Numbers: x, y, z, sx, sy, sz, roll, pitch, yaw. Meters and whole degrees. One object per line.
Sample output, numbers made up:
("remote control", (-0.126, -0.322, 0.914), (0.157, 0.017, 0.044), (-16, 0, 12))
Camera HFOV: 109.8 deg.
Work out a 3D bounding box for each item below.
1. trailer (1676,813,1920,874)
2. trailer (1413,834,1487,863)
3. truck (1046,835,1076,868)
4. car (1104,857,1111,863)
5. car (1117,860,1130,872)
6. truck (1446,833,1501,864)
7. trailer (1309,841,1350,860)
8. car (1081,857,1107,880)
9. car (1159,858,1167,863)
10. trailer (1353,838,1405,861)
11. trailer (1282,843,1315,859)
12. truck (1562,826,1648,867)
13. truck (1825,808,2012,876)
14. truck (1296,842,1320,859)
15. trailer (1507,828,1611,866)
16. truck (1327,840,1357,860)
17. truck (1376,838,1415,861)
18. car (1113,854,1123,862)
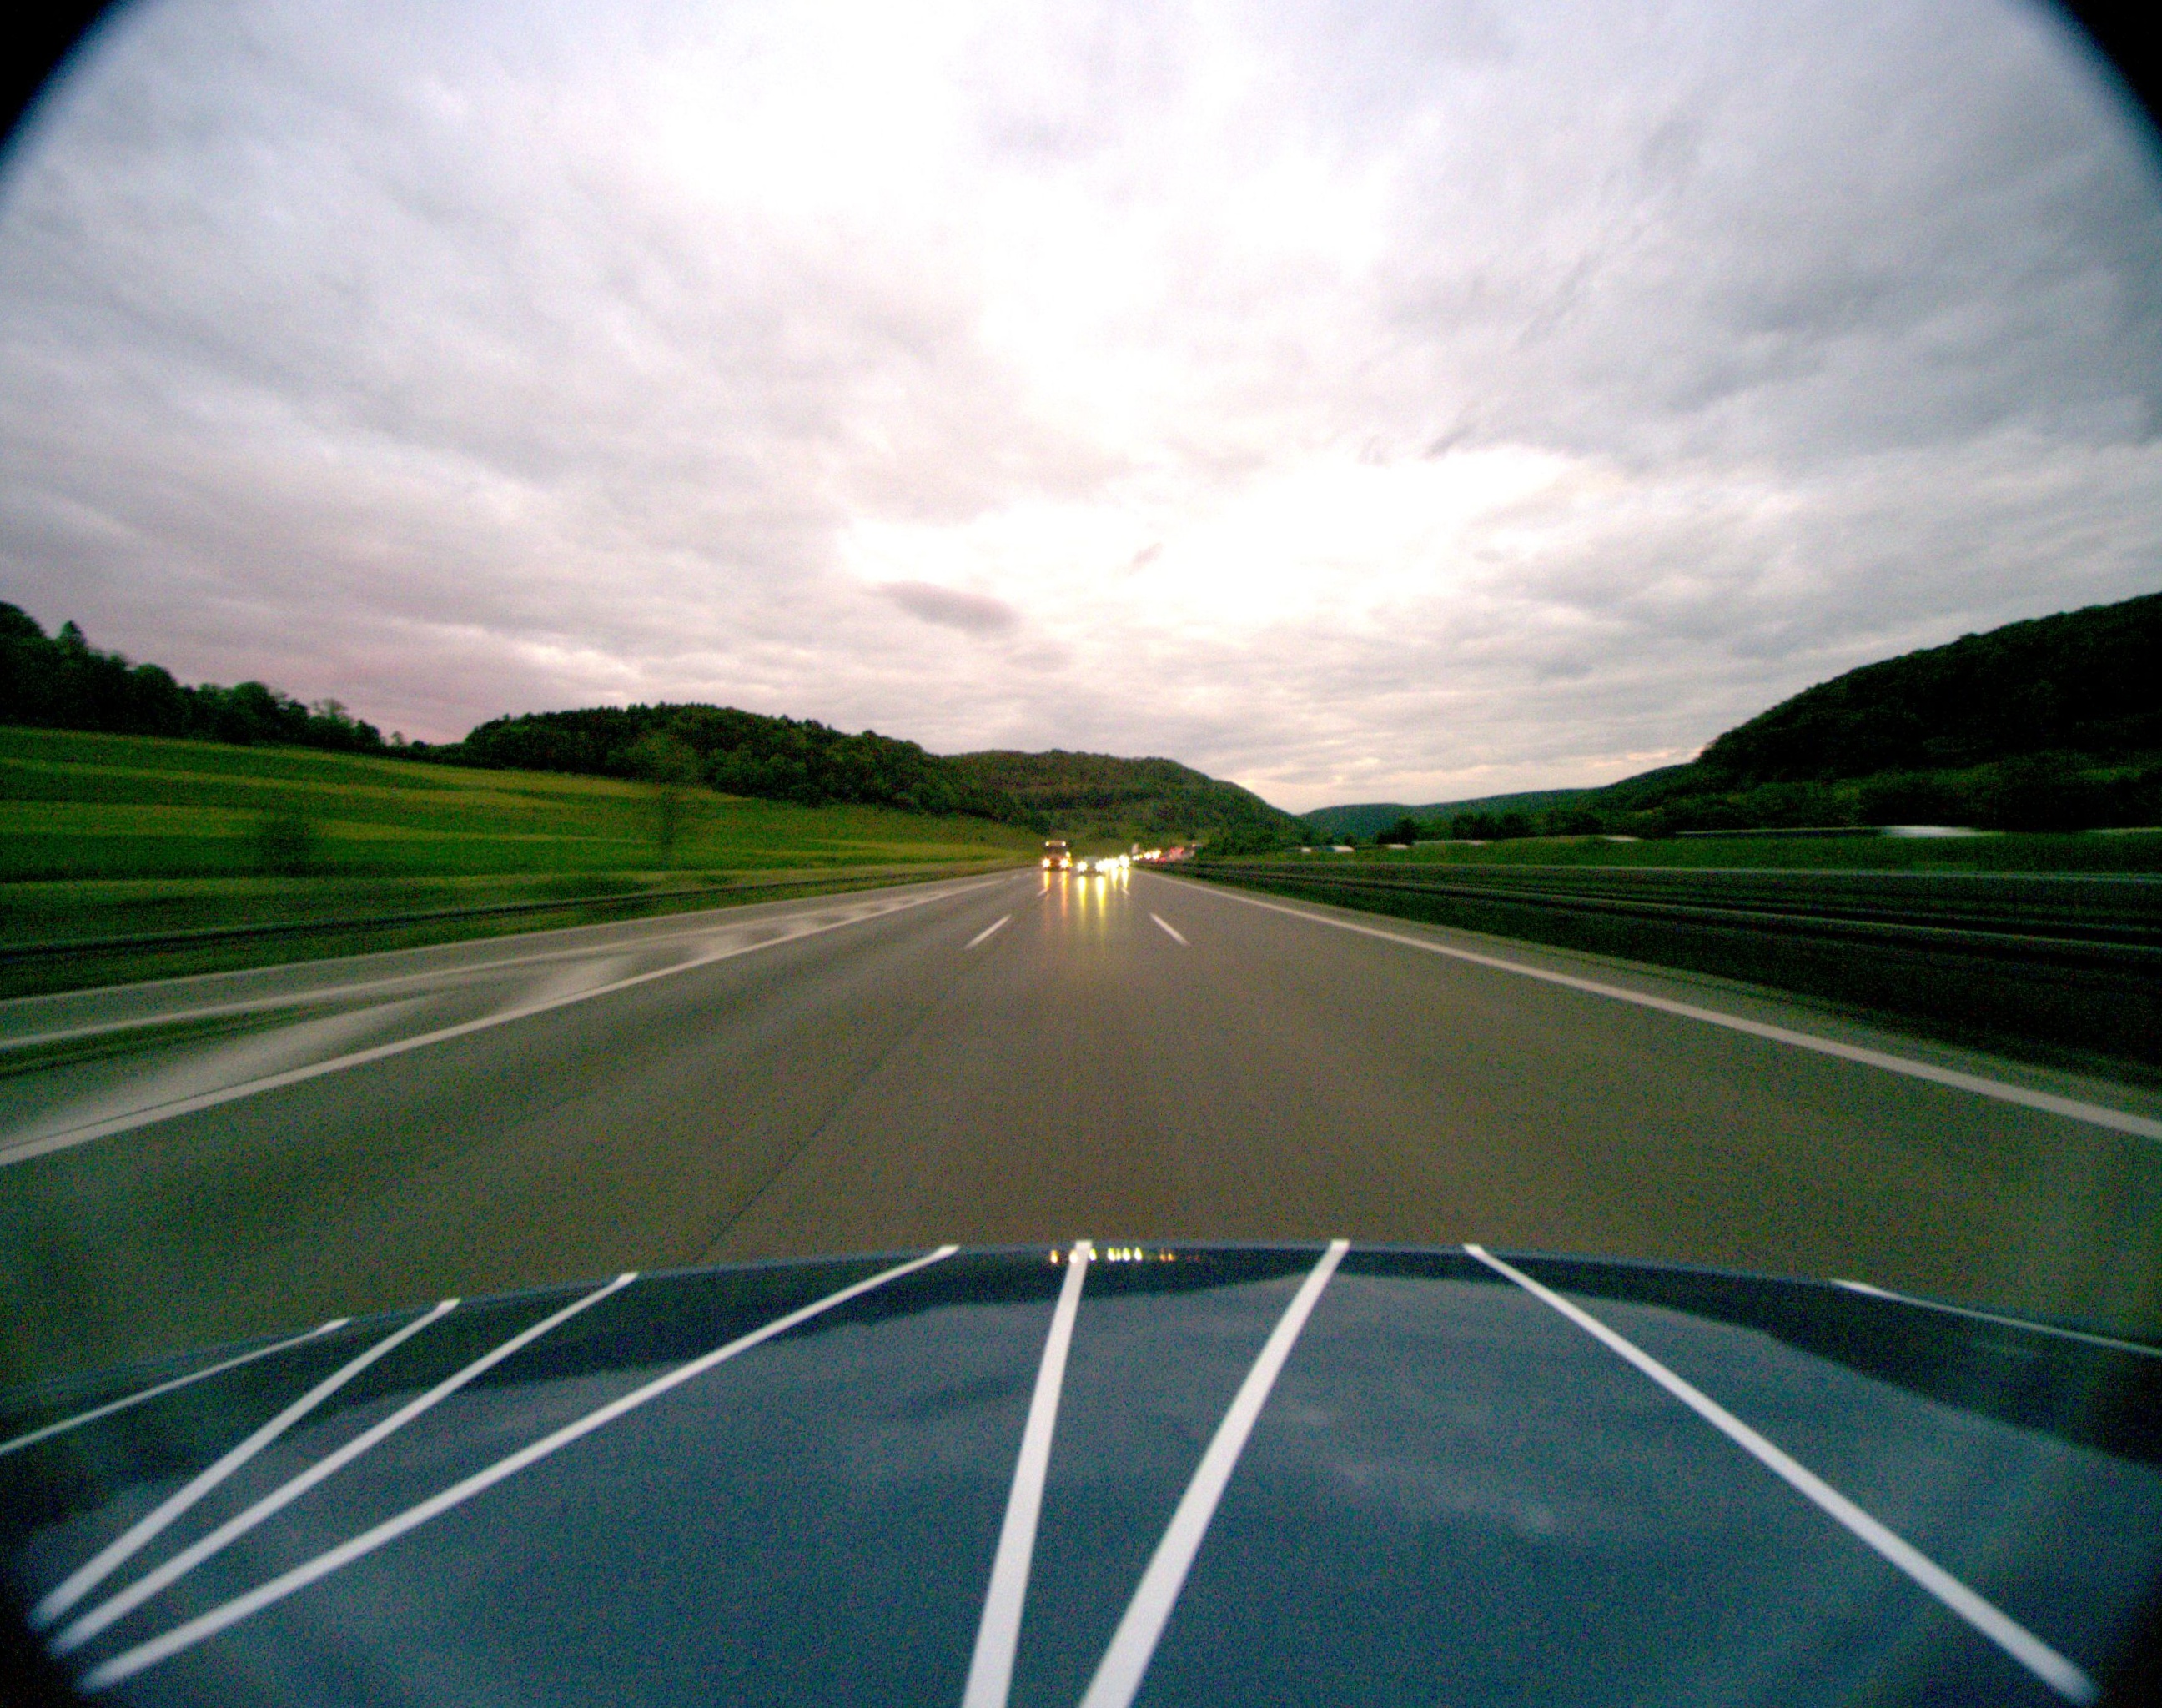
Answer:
("trailer", (41.628, -0.556, 45.183), (2.874, 3.070, 12.485), (-1, 0, 1))
("trailer", (42.167, -0.577, 87.392), (2.874, 3.070, 11.814), (-1, 0, 1))
("truck", (-2.426, -0.307, 95.600), (3.119, 3.850, 14.163), (1, 0, 1))
("car", (7.052, 1.609, 201.555), (1.932, 1.492, 4.134), (1, 0, 2))
("car", (6.122, 1.750, 110.225), (1.793, 1.492, 5.038), (-3, 0, 3))
("truck", (42.074, -0.574, 81.669), (2.874, 3.070, 5.893), (-1, 0, 1))
("trailer", (42.932, -0.604, 131.722), (2.874, 3.070, 13.635), (-1, 0, 1))
("car", (1.019, 1.141, 61.902), (1.927, 1.674, 4.806), (-2, 0, 0))
("car", (23.975, 1.861, 222.470), (1.855, 1.492, 4.134), (1, 0, 2))
("trailer", (42.733, -0.595, 109.438), (2.874, 3.070, 12.197), (-1, 0, 1))
("trailer", (43.291, -0.617, 151.420), (2.874, 3.070, 13.355), (-1, 0, 1))
("truck", (41.728, -0.561, 60.766), (2.874, 3.070, 5.893), (-1, 0, 1))
("truck", (41.490, -0.551, 37.955), (2.874, 3.070, 5.893), (-1, 0, 1))
("truck", (43.205, -0.614, 144.965), (2.874, 3.070, 5.893), (-1, 0, 1))
("trailer", (41.838, -0.565, 67.068), (2.874, 3.070, 10.157), (-1, 0, 1))
("truck", (42.842, -0.601, 124.801), (2.874, 3.070, 5.842), (-1, 0, 1))
("truck", (42.679, -0.593, 103.316), (2.874, 3.070, 5.893), (-1, 0, 1))
("car", (8.117, 0.855, 165.745), (1.894, 1.650, 5.639), (-3, 0, 1))
